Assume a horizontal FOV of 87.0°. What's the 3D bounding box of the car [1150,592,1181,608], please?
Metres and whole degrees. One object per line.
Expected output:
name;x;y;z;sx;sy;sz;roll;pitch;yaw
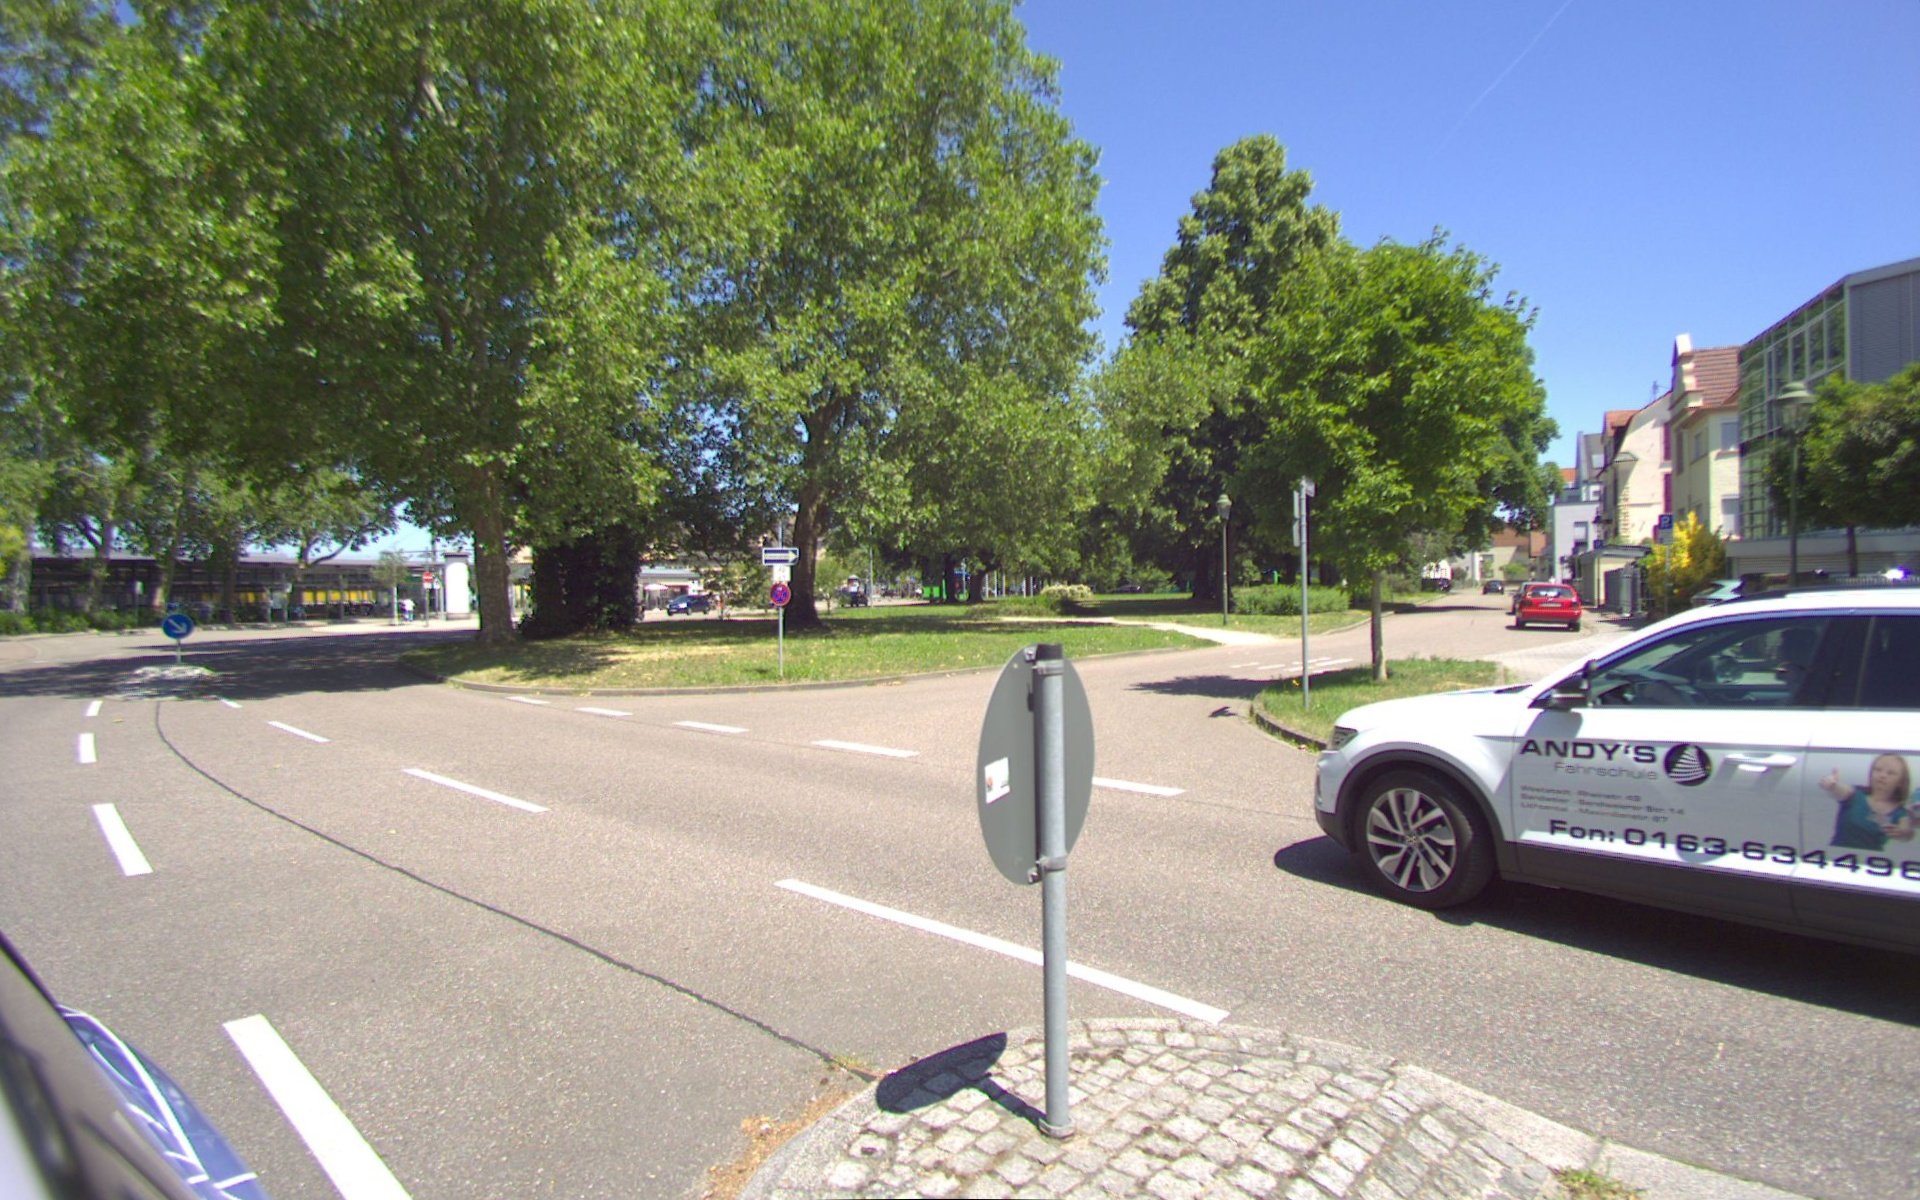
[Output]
car;27.338;-0.038;134.562;3.963;2.029;1.990;-2;0;16

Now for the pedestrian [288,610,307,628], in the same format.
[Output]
pedestrian;-50.375;1.436;76.988;0.822;1.284;0.865;-1;0;12

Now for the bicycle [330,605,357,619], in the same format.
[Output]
bicycle;-55.346;1.049;90.840;0.665;1.081;2.157;0;4;18

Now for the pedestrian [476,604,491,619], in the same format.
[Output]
pedestrian;-45.365;1.085;96.381;0.954;1.315;0.826;-1;0;16

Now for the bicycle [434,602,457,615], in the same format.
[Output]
bicycle;-50.923;0.821;100.108;0.665;1.081;2.157;0;4;18

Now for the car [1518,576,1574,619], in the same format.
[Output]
car;25.918;-0.121;44.877;1.992;1.792;4.461;-2;0;29

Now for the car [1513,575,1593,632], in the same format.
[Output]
car;18.550;0.082;31.777;1.992;1.630;4.461;-2;0;29

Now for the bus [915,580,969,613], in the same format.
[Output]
bus;-1.763;-0.414;109.695;2.789;3.327;11.803;-2;0;14

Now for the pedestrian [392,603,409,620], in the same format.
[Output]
pedestrian;-47.905;0.957;86.587;0.954;1.396;0.826;-1;0;16

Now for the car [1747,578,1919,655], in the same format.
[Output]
car;18.675;0.325;20.524;3.984;1.437;1.980;-2;1;30

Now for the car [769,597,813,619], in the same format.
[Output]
car;-13.599;0.641;81.644;2.029;1.760;4.306;0;-1;13

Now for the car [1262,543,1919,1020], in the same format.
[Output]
car;3.730;0.614;4.369;1.848;1.635;4.312;-2;-1;-39

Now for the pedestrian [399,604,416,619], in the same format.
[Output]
pedestrian;-47.728;1.003;87.468;0.954;1.315;0.826;-1;0;16

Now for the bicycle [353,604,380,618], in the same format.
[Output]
bicycle;-52.741;0.931;90.004;0.665;1.081;2.157;0;4;18

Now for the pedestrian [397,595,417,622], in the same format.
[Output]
pedestrian;-36.590;0.565;66.951;0.673;1.749;0.905;-2;0;32

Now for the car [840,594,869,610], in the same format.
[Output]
car;-9.854;0.193;94.700;1.628;1.428;3.987;0;0;10

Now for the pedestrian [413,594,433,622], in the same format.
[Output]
pedestrian;-35.968;0.530;67.765;0.694;1.798;0.903;-2;0;38

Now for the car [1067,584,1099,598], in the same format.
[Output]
car;16.765;-1.222;138.053;3.967;1.817;1.988;-2;0;18

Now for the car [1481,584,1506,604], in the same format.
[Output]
car;50.845;-0.561;96.508;1.990;1.792;4.464;-2;0;28

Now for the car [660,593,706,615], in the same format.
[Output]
car;-19.693;0.251;72.177;1.758;1.556;4.174;0;1;7

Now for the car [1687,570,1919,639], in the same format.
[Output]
car;19.348;0.114;23.386;3.987;1.445;1.861;-2;1;32
